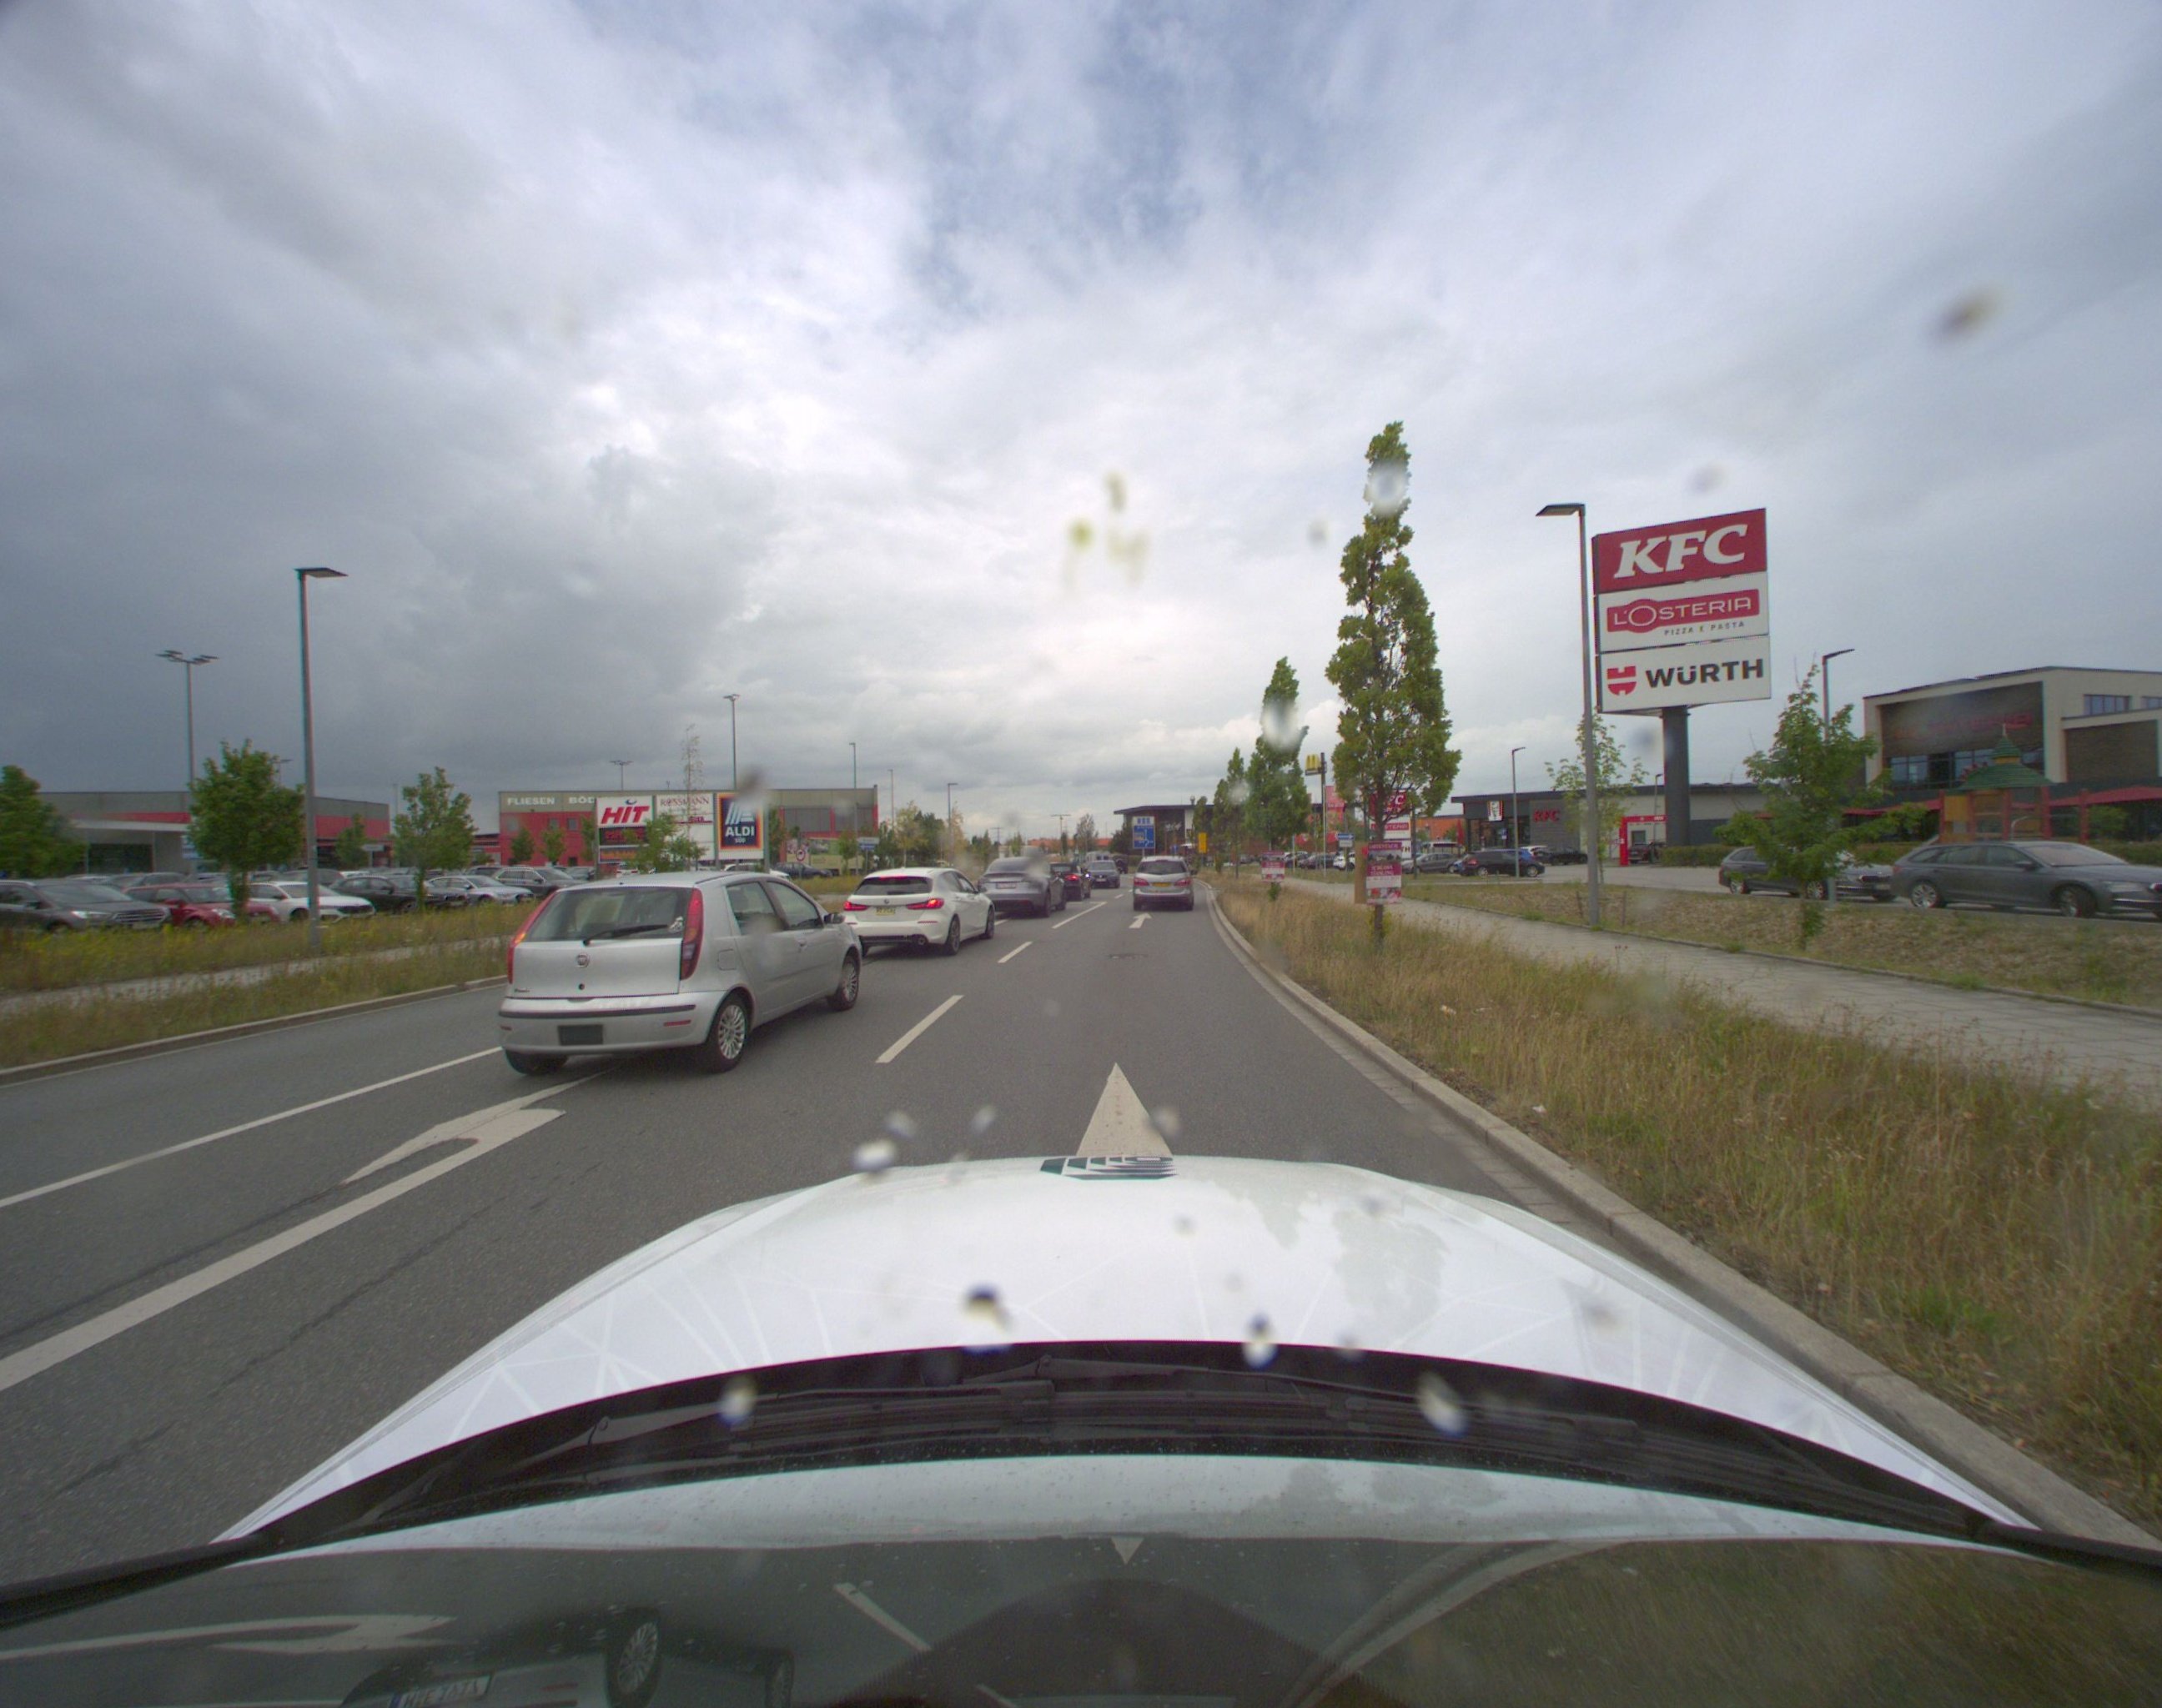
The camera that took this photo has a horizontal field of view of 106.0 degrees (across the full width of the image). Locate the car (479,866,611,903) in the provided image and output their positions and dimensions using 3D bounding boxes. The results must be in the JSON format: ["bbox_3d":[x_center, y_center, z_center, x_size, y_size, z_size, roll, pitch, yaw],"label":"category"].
[{"bbox_3d":[-23.048,1.297,35.141,4.333,1.391,2.170,-2,0,7],"label":"car"}]

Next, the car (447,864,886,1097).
[{"bbox_3d":[-3.255,0.872,7.434,1.695,1.438,4.036,-2,0,4],"label":"car"}]

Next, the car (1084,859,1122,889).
[{"bbox_3d":[1.187,1.014,42.426,1.822,1.420,4.249,-1,0,3],"label":"car"}]

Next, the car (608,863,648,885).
[{"bbox_3d":[-37.909,1.670,68.264,1.998,1.729,3.978,-2,0,-16],"label":"car"}]

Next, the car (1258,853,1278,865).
[{"bbox_3d":[22.918,0.570,99.717,1.795,1.313,3.871,-2,0,23],"label":"car"}]

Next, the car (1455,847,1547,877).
[{"bbox_3d":[22.661,0.408,44.062,3.965,1.494,1.986,-2,0,8],"label":"car"}]

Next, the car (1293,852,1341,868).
[{"bbox_3d":[23.465,0.595,81.053,4.085,1.438,1.936,-2,0,-11],"label":"car"}]

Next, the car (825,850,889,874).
[{"bbox_3d":[-22.738,0.774,82.887,6.077,2.307,2.200,-1,-1,-14],"label":"car"}]

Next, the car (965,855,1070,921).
[{"bbox_3d":[-1.617,0.866,22.631,1.983,1.561,4.622,-2,0,7],"label":"car"}]

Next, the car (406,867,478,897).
[{"bbox_3d":[-38.432,1.654,49.102,1.998,1.607,3.978,-2,0,-16],"label":"car"}]

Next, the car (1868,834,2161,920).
[{"bbox_3d":[18.925,0.367,16.260,1.856,1.437,4.884,-2,0,3],"label":"car"}]

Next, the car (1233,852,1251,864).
[{"bbox_3d":[24.288,0.576,122.645,1.976,1.717,4.021,-1,0,21],"label":"car"}]

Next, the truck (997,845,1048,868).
[{"bbox_3d":[-10.838,0.459,151.496,9.379,3.907,3.108,-1,-1,-38],"label":"truck"}]

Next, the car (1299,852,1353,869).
[{"bbox_3d":[23.466,0.573,78.075,4.516,1.469,2.026,-2,0,-9],"label":"car"}]

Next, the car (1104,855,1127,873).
[{"bbox_3d":[3.647,1.056,87.140,2.053,1.826,4.782,-1,-1,-2],"label":"car"}]

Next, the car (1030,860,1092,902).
[{"bbox_3d":[-0.683,0.970,30.781,1.760,1.438,4.237,-2,-1,6],"label":"car"}]

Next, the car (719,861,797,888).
[{"bbox_3d":[-20.808,1.319,52.616,4.238,1.559,1.987,-2,0,-4],"label":"car"}]

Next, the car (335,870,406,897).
[{"bbox_3d":[-46.732,1.915,53.671,1.998,1.607,3.978,-2,0,-16],"label":"car"}]

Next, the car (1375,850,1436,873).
[{"bbox_3d":[24.345,0.572,61.177,3.847,1.481,1.903,-3,0,1],"label":"car"}]

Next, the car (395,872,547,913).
[{"bbox_3d":[-23.239,1.439,31.142,4.295,1.340,2.029,-2,0,3],"label":"car"}]

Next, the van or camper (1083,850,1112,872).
[{"bbox_3d":[1.934,0.818,97.097,2.304,2.506,5.185,-1,0,-11],"label":"van or camper"}]

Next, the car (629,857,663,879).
[{"bbox_3d":[-39.707,1.273,74.372,1.999,1.849,4.241,-1,0,-18],"label":"car"}]

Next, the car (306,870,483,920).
[{"bbox_3d":[-23.701,1.381,28.219,4.342,1.505,2.244,-2,0,6],"label":"car"}]

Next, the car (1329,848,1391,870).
[{"bbox_3d":[24.319,0.437,71.090,4.553,1.645,2.085,-3,0,-5],"label":"car"}]

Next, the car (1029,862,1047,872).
[{"bbox_3d":[-6.805,2.094,128.616,1.999,1.515,3.976,-2,0,-18],"label":"car"}]

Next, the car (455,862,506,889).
[{"bbox_3d":[-48.055,1.681,65.259,1.998,2.014,3.977,-1,0,-17],"label":"car"}]

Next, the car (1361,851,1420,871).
[{"bbox_3d":[25.071,0.550,66.074,3.974,1.485,1.940,-2,-1,-1],"label":"car"}]

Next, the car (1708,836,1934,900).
[{"bbox_3d":[19.557,0.326,21.889,1.952,1.460,4.839,-2,0,5],"label":"car"}]

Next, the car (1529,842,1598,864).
[{"bbox_3d":[37.400,-0.058,63.117,4.570,1.519,1.967,-3,0,-16],"label":"car"}]

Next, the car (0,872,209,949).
[{"bbox_3d":[-24.500,1.351,19.878,4.281,1.655,2.083,-2,0,4],"label":"car"}]

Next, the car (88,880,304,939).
[{"bbox_3d":[-24.269,1.513,22.424,4.062,1.391,2.004,-2,0,7],"label":"car"}]

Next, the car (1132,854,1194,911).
[{"bbox_3d":[2.552,0.801,24.874,1.720,1.600,3.815,0,0,7],"label":"car"}]

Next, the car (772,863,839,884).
[{"bbox_3d":[-20.328,1.436,60.199,4.218,1.435,1.998,-2,0,0],"label":"car"}]

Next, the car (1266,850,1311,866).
[{"bbox_3d":[22.482,0.407,88.445,4.354,1.639,1.928,-2,0,-15],"label":"car"}]

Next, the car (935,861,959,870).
[{"bbox_3d":[-23.908,2.046,145.198,3.975,1.515,1.999,-2,0,-1],"label":"car"}]

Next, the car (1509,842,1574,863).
[{"bbox_3d":[38.649,-0.130,68.382,4.567,1.519,2.071,-3,0,-14],"label":"car"}]

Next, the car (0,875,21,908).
[{"bbox_3d":[-59.057,2.071,42.844,1.998,1.732,3.978,-2,0,-16],"label":"car"}]

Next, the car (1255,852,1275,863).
[{"bbox_3d":[28.081,0.531,124.073,2.096,1.717,4.255,-1,0,25],"label":"car"}]

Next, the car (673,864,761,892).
[{"bbox_3d":[-21.192,1.399,47.523,4.220,1.513,2.050,-1,0,6],"label":"car"}]

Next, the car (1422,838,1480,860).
[{"bbox_3d":[42.933,-0.604,94.568,5.675,2.351,2.526,-2,0,-11],"label":"car"}]

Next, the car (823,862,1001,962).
[{"bbox_3d":[-2.793,0.908,14.493,1.870,1.468,4.200,-2,-1,6],"label":"car"}]

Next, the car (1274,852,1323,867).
[{"bbox_3d":[22.949,0.574,85.973,4.471,1.436,2.065,-2,0,-12],"label":"car"}]

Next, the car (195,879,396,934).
[{"bbox_3d":[-23.904,1.574,24.885,4.298,1.456,2.013,-2,0,5],"label":"car"}]

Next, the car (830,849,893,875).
[{"bbox_3d":[-23.580,0.873,87.826,6.414,2.598,2.234,-1,-1,-13],"label":"car"}]

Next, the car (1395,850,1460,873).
[{"bbox_3d":[23.940,0.520,56.373,3.742,1.494,1.891,-2,0,3],"label":"car"}]

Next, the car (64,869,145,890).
[{"bbox_3d":[-81.699,2.149,68.169,3.985,1.607,1.994,-2,-1,-8],"label":"car"}]

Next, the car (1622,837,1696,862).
[{"bbox_3d":[41.838,-0.321,58.929,4.570,1.519,1.887,-3,0,-16],"label":"car"}]

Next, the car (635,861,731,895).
[{"bbox_3d":[-21.781,1.273,44.702,4.226,1.723,2.029,-1,-1,2],"label":"car"}]

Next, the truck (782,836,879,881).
[{"bbox_3d":[-21.025,0.388,68.979,2.824,3.541,8.477,-1,0,24],"label":"truck"}]

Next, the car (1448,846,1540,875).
[{"bbox_3d":[23.559,0.382,46.581,4.241,1.520,1.968,-2,0,5],"label":"car"}]
